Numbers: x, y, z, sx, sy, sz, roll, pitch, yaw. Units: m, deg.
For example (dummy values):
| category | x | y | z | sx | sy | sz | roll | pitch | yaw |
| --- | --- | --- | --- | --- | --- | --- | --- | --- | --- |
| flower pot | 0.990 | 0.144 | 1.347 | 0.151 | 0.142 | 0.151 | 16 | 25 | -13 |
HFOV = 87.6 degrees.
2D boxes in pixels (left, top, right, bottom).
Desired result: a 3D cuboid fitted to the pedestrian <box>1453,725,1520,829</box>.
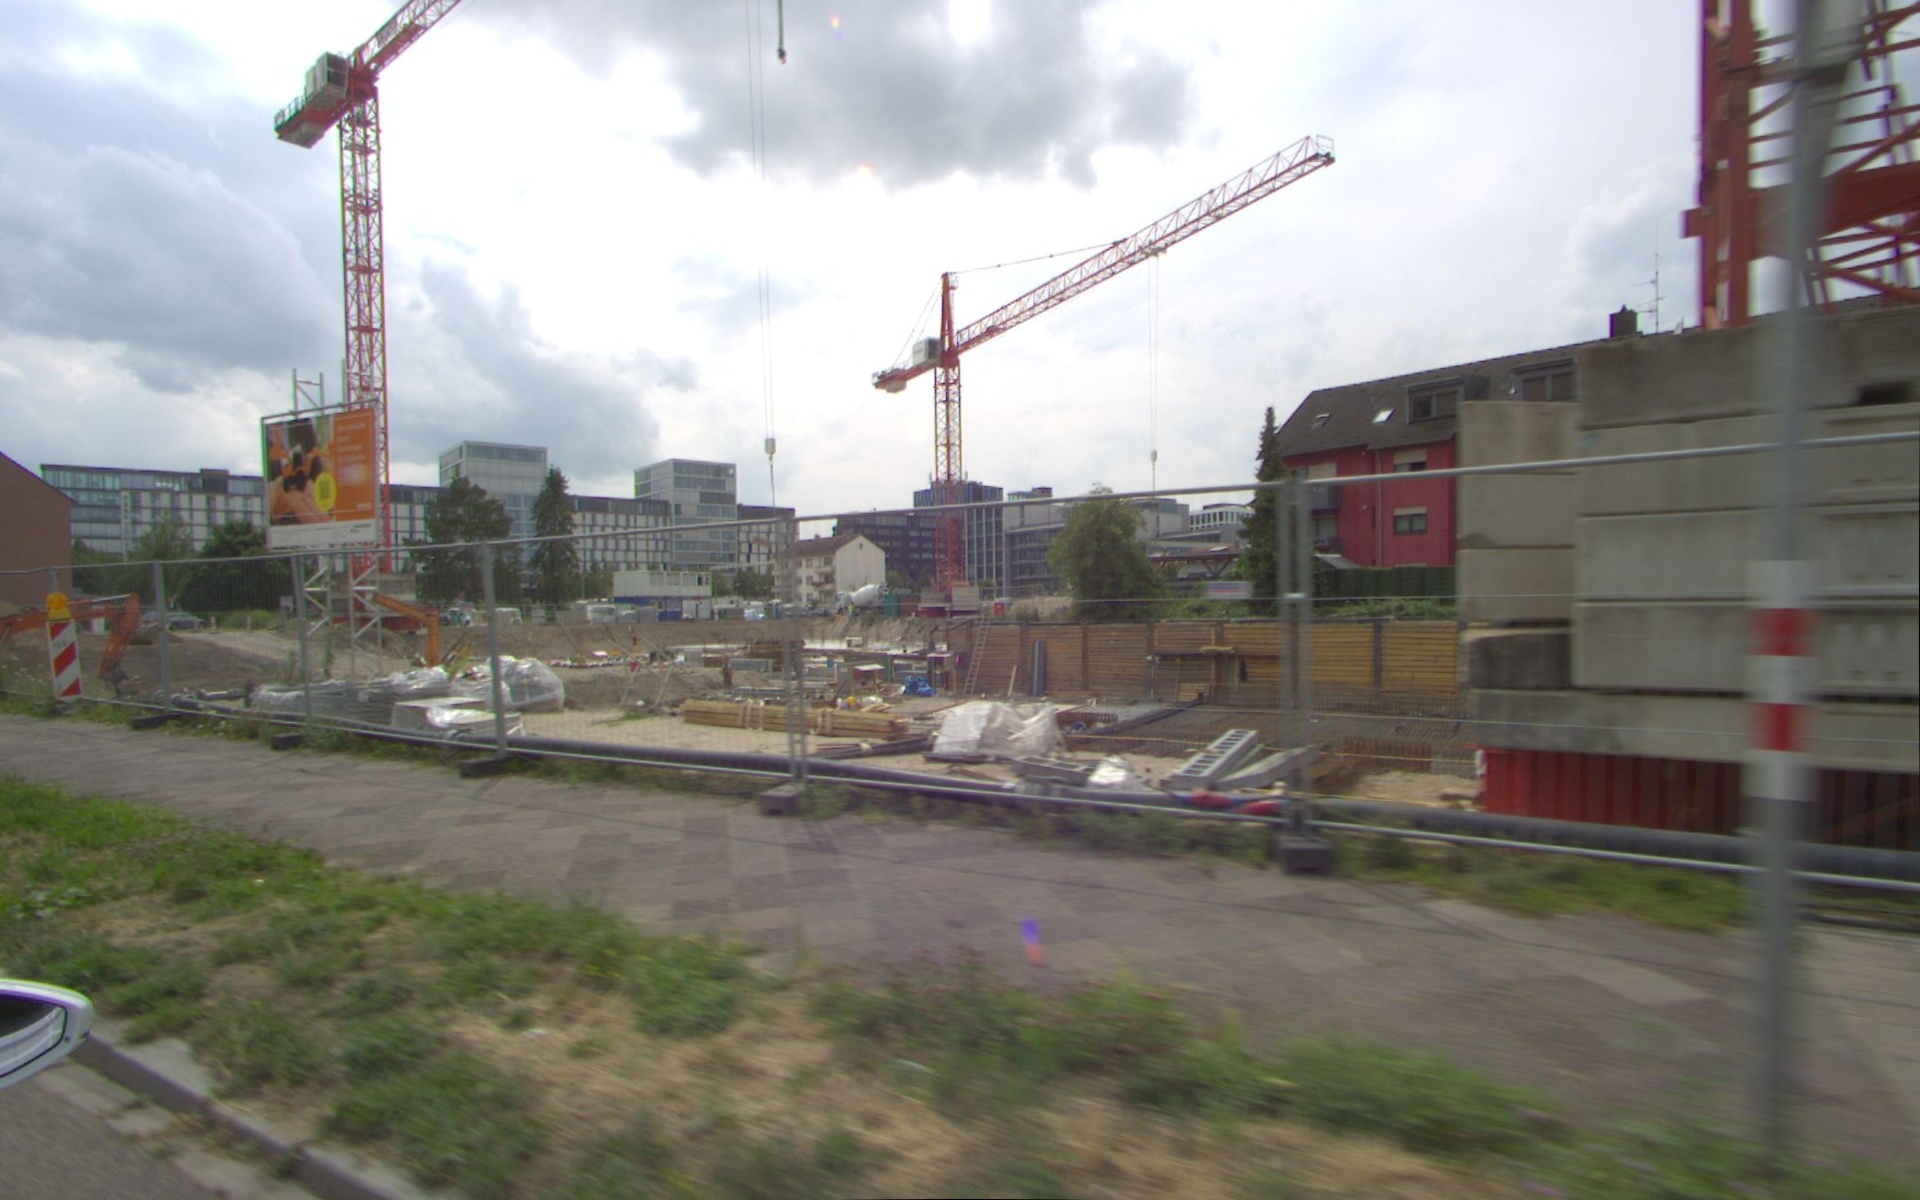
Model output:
| category | x | y | z | sx | sy | sz | roll | pitch | yaw |
| --- | --- | --- | --- | --- | --- | --- | --- | --- | --- |
| pedestrian | 9.806 | 3.268 | 18.670 | 0.830 | 1.745 | 0.718 | -2 | 2 | -22 |

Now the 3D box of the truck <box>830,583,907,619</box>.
| category | x | y | z | sx | sy | sz | roll | pitch | yaw |
| --- | --- | --- | --- | --- | --- | --- | --- | --- | --- |
| truck | -11.124 | 0.178 | 121.352 | 10.157 | 4.189 | 3.321 | -1 | 2 | 43 |

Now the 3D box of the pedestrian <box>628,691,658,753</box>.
| category | x | y | z | sx | sy | sz | roll | pitch | yaw |
| --- | --- | --- | --- | --- | --- | --- | --- | --- | --- |
| pedestrian | -9.688 | 3.723 | 30.583 | 0.709 | 1.745 | 0.842 | -3 | 2 | -24 |

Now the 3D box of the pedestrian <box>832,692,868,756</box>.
| category | x | y | z | sx | sy | sz | roll | pitch | yaw |
| --- | --- | --- | --- | --- | --- | --- | --- | --- | --- |
| pedestrian | -3.137 | 3.541 | 28.698 | 0.828 | 1.745 | 0.720 | -2 | 2 | 7 |

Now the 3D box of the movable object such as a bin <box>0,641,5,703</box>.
| category | x | y | z | sx | sy | sz | roll | pitch | yaw |
| --- | --- | --- | --- | --- | --- | --- | --- | --- | --- |
| movable object such as a bin | -44.713 | 3.273 | 43.423 | 4.651 | 2.625 | 3.102 | -3 | 2 | -44 |
